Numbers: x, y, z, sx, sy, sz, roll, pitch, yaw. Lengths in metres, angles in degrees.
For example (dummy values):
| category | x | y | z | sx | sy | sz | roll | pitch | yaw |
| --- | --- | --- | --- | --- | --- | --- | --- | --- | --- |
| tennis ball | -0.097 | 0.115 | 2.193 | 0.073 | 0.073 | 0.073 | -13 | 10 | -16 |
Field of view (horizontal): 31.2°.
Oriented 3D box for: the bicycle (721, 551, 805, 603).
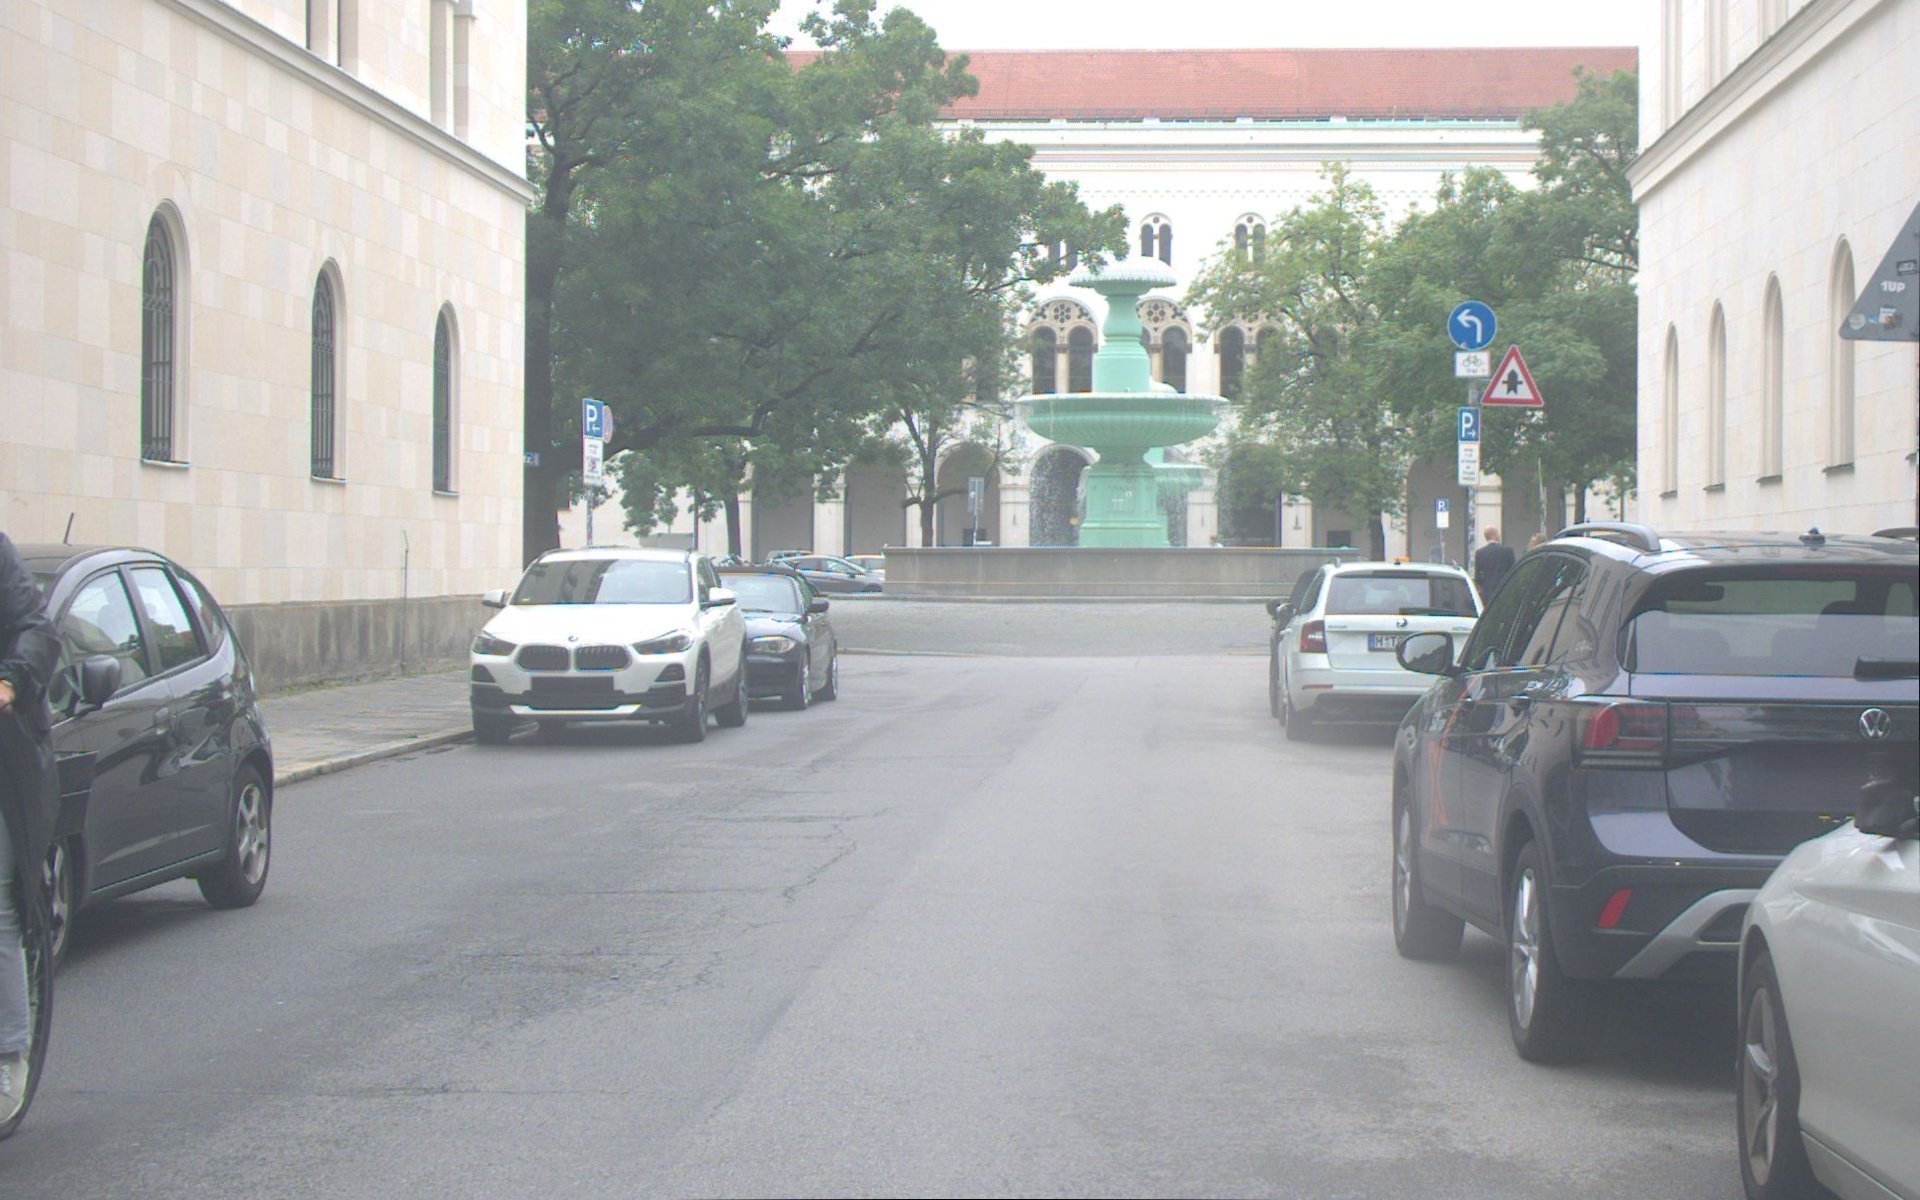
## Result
| category | x | y | z | sx | sy | sz | roll | pitch | yaw |
| --- | --- | --- | --- | --- | --- | --- | --- | --- | --- |
| bicycle | -3.973 | -0.471 | 69.408 | 1.536 | 1.016 | 0.698 | 1 | 1 | 15 |

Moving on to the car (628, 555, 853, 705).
| category | x | y | z | sx | sy | sz | roll | pitch | yaw |
| --- | --- | --- | --- | --- | --- | --- | --- | --- | --- |
| car | -2.141 | 0.275 | 34.579 | 1.698 | 1.388 | 4.211 | -1 | 0 | 4 |

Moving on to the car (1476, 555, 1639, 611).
| category | x | y | z | sx | sy | sz | roll | pitch | yaw |
| --- | --- | --- | --- | --- | --- | --- | --- | --- | --- |
| car | 16.623 | -0.495 | 95.788 | 4.358 | 1.519 | 1.803 | 0 | 1 | 6 |

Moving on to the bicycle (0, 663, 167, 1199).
| category | x | y | z | sx | sy | sz | roll | pitch | yaw |
| --- | --- | --- | --- | --- | --- | --- | --- | --- | --- |
| bicycle | -2.412 | 0.778 | 8.002 | 0.648 | 1.193 | 1.950 | 0 | 1 | 1 |

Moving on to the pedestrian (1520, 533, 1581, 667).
| category | x | y | z | sx | sy | sz | roll | pitch | yaw |
| --- | --- | --- | --- | --- | --- | --- | --- | --- | --- |
| pedestrian | 7.499 | -0.009 | 43.662 | 0.620 | 1.676 | 0.546 | 1 | 1 | -2 |

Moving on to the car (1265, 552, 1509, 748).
| category | x | y | z | sx | sy | sz | roll | pitch | yaw |
| --- | --- | --- | --- | --- | --- | --- | --- | --- | --- |
| car | 3.491 | 0.356 | 28.740 | 1.789 | 1.471 | 4.312 | 1 | 1 | 4 |

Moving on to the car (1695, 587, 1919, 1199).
| category | x | y | z | sx | sy | sz | roll | pitch | yaw |
| --- | --- | --- | --- | --- | --- | --- | --- | --- | --- |
| car | 2.535 | 0.730 | 6.105 | 1.673 | 1.412 | 4.201 | 1 | 1 | 2 |

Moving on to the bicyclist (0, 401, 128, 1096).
| category | x | y | z | sx | sy | sz | roll | pitch | yaw |
| --- | --- | --- | --- | --- | --- | --- | --- | --- | --- |
| bicyclist | -2.406 | 0.327 | 8.098 | 0.657 | 1.545 | 0.887 | 0 | 0 | 1 |

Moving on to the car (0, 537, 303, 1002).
| category | x | y | z | sx | sy | sz | roll | pitch | yaw |
| --- | --- | --- | --- | --- | --- | --- | --- | --- | --- |
| car | -3.874 | 0.537 | 12.945 | 1.751 | 1.448 | 4.015 | -1 | 2 | 4 |

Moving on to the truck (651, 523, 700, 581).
| category | x | y | z | sx | sy | sz | roll | pitch | yaw |
| --- | --- | --- | --- | --- | --- | --- | --- | --- | --- |
| truck | -12.641 | -2.141 | 152.619 | 1.993 | 2.480 | 4.001 | 1 | 1 | -7 |

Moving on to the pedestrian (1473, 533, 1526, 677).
| category | x | y | z | sx | sy | sz | roll | pitch | yaw |
| --- | --- | --- | --- | --- | --- | --- | --- | --- | --- |
| pedestrian | 6.800 | 0.061 | 43.308 | 0.642 | 1.802 | 0.489 | 0 | 1 | 9 |

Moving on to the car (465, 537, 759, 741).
| category | x | y | z | sx | sy | sz | roll | pitch | yaw |
| --- | --- | --- | --- | --- | --- | --- | --- | --- | --- |
| car | -2.784 | 0.287 | 28.358 | 1.778 | 1.529 | 4.211 | -1 | 0 | 3 |

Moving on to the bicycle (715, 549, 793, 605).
| category | x | y | z | sx | sy | sz | roll | pitch | yaw |
| --- | --- | --- | --- | --- | --- | --- | --- | --- | --- |
| bicycle | -4.114 | -0.466 | 68.664 | 1.402 | 1.095 | 0.656 | 1 | 1 | 15 |

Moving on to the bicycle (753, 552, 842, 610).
| category | x | y | z | sx | sy | sz | roll | pitch | yaw |
| --- | --- | --- | --- | --- | --- | --- | --- | --- | --- |
| bicycle | -3.176 | -0.371 | 67.392 | 1.620 | 1.095 | 0.616 | 1 | 1 | 15 |

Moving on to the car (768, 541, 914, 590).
| category | x | y | z | sx | sy | sz | roll | pitch | yaw |
| --- | --- | --- | --- | --- | --- | --- | --- | --- | --- |
| car | -3.350 | -0.984 | 97.127 | 3.987 | 1.371 | 2.000 | 0 | 1 | 3 |

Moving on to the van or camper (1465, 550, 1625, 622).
| category | x | y | z | sx | sy | sz | roll | pitch | yaw |
| --- | --- | --- | --- | --- | --- | --- | --- | --- | --- |
| van or camper | 18.105 | -0.419 | 106.544 | 4.579 | 2.007 | 2.000 | -2 | 0 | 1 |

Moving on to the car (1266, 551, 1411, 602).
| category | x | y | z | sx | sy | sz | roll | pitch | yaw |
| --- | --- | --- | --- | --- | --- | --- | --- | --- | --- |
| car | 10.591 | -0.663 | 96.136 | 3.988 | 1.398 | 1.824 | 0 | 1 | 6 |

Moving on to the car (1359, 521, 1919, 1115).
| category | x | y | z | sx | sy | sz | roll | pitch | yaw |
| --- | --- | --- | --- | --- | --- | --- | --- | --- | --- |
| car | 2.373 | 0.564 | 11.266 | 1.747 | 1.588 | 3.956 | 1 | 1 | 2 |
